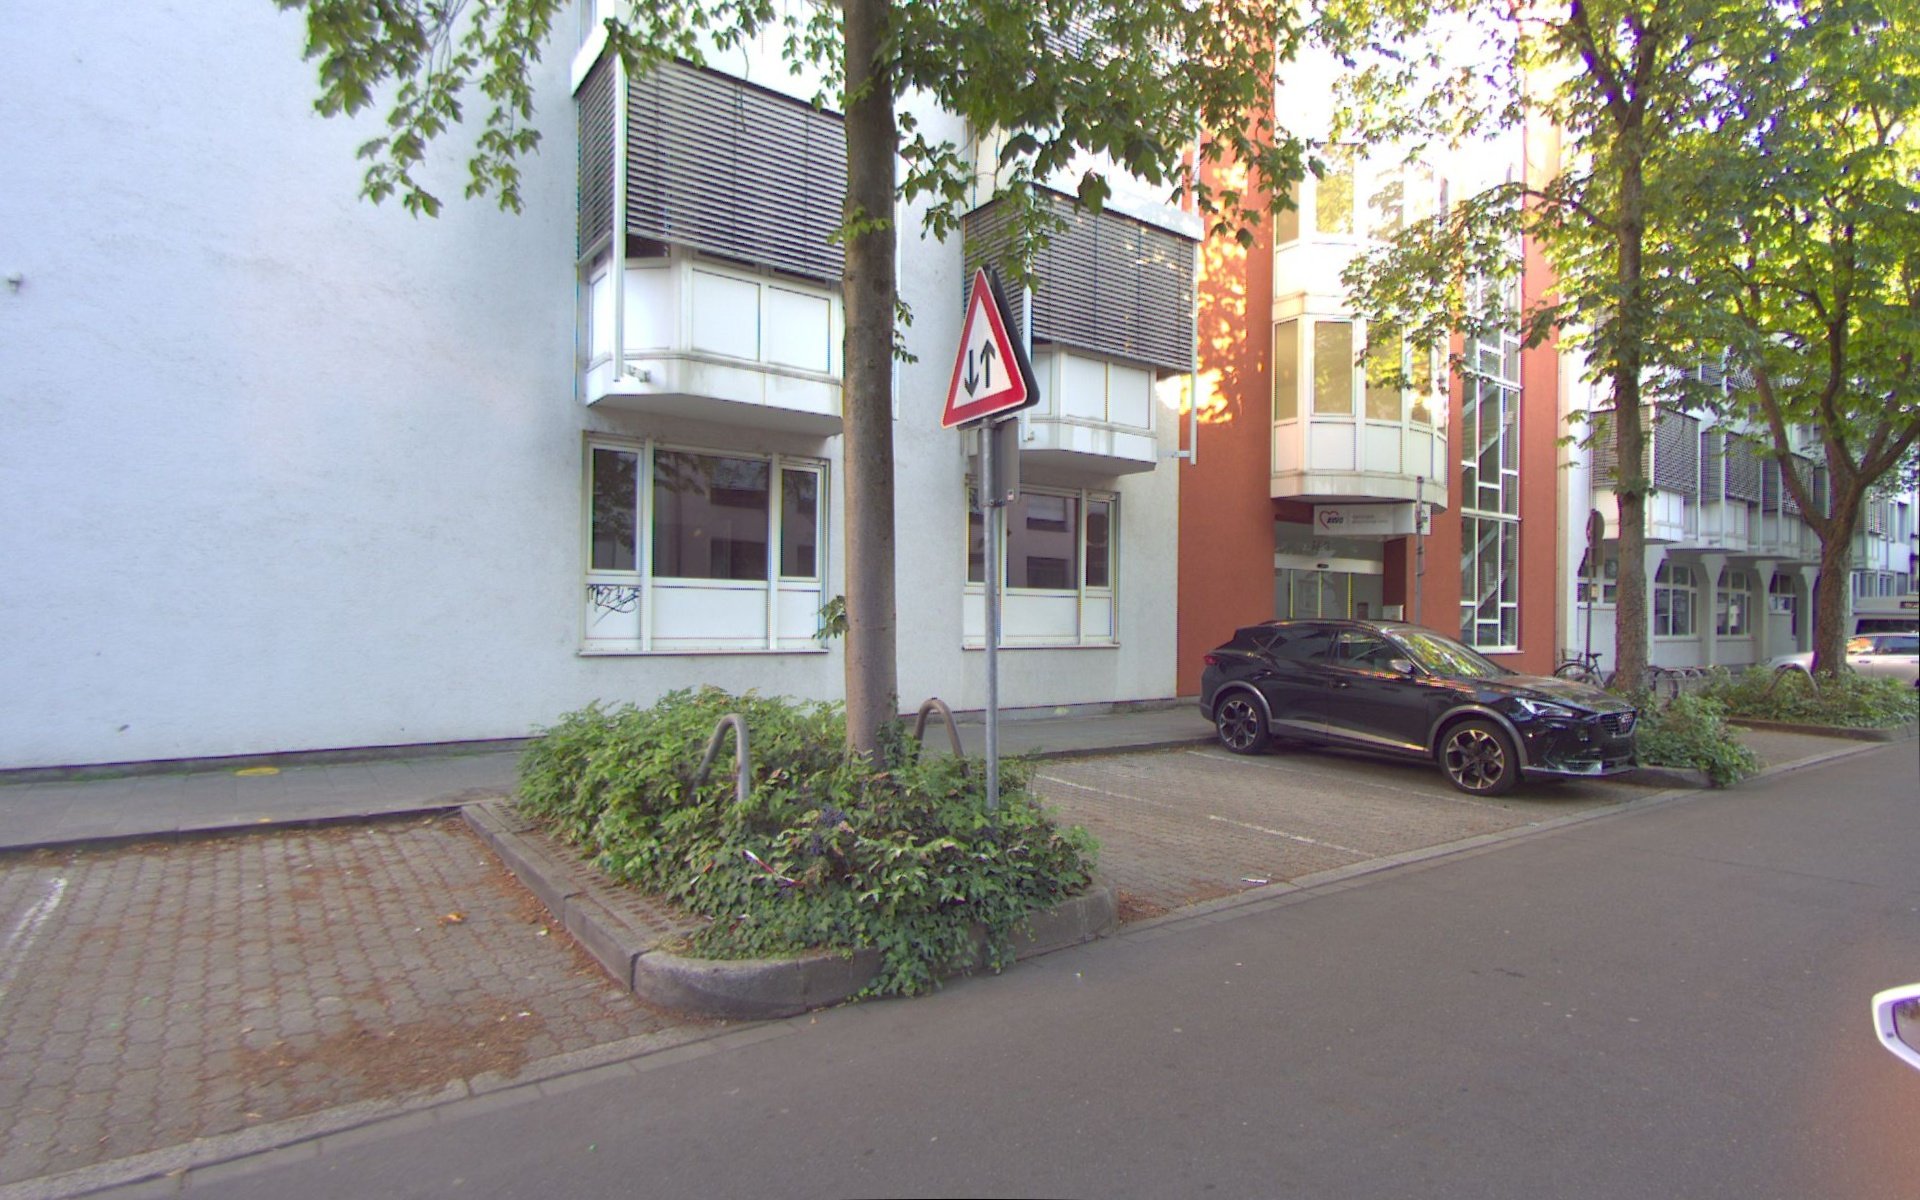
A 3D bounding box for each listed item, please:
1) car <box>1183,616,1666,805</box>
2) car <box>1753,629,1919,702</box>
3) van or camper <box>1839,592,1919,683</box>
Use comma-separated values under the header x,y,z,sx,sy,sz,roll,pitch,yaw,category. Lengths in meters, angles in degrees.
x,y,z,sx,sy,sz,roll,pitch,yaw,category
4.585,0.955,10.555,1.768,1.537,4.325,1,-1,-35,car
21.027,1.465,23.185,1.767,1.537,3.942,1,-1,-35,car
27.767,1.049,27.987,1.981,2.511,4.632,1,-1,-36,van or camper
